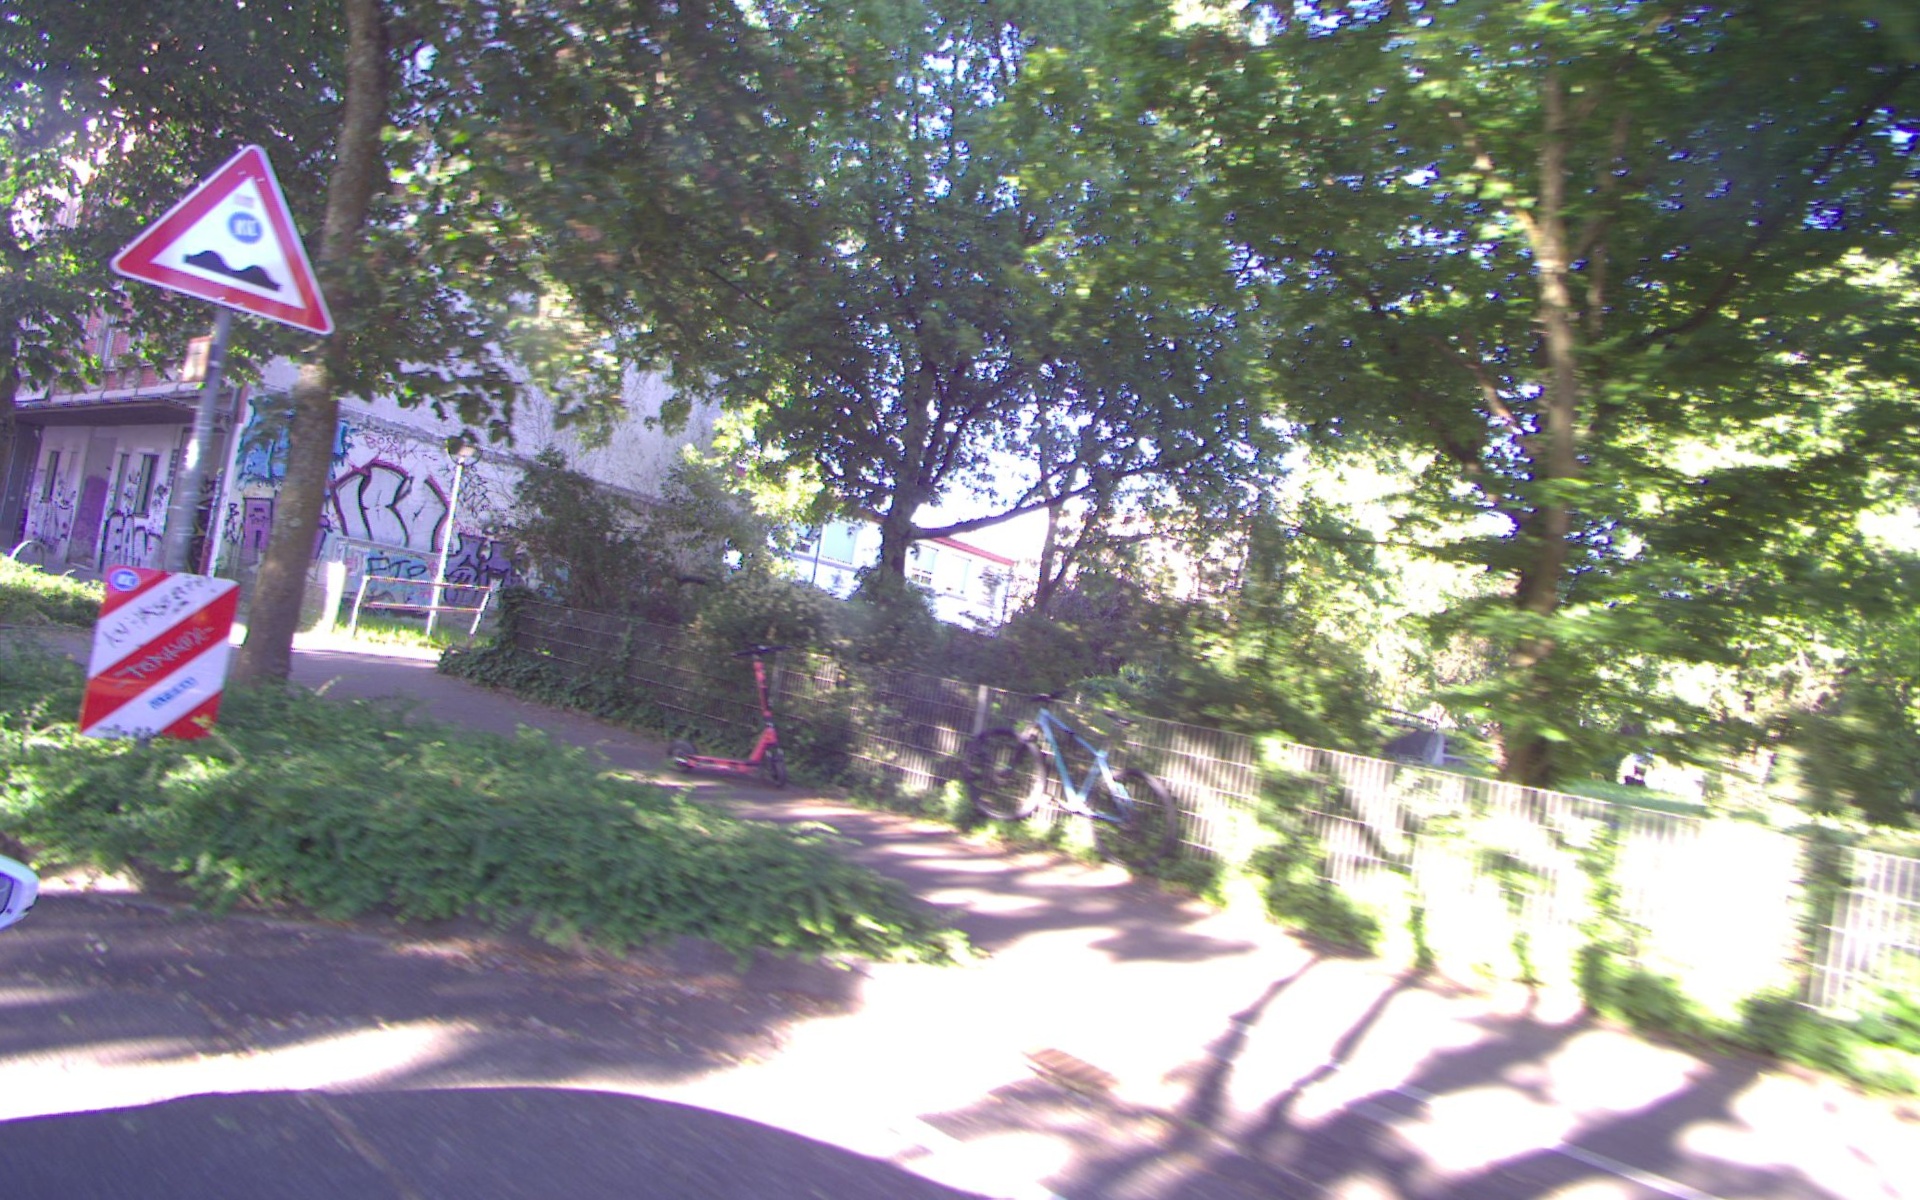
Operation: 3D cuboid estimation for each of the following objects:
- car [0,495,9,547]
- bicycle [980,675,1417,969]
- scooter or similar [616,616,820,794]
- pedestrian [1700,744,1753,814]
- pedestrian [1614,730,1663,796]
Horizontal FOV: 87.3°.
[{"bbox_3d":[-20.744,-1.558,20.014,4.330,1.579,1.724,7,-4,36],"label":"car"},{"bbox_3d":[1.526,1.377,6.873,2.652,1.282,0.847,8,-2,39],"label":"bicycle"},{"bbox_3d":[-2.067,0.884,8.677,1.445,1.276,0.547,8,-1,6],"label":"scooter or similar"},{"bbox_3d":[24.846,5.787,32.624,0.736,2.036,0.911,8,-1,-6],"label":"pedestrian"},{"bbox_3d":[22.834,5.475,33.859,0.736,2.036,0.911,8,-1,-6],"label":"pedestrian"}]
